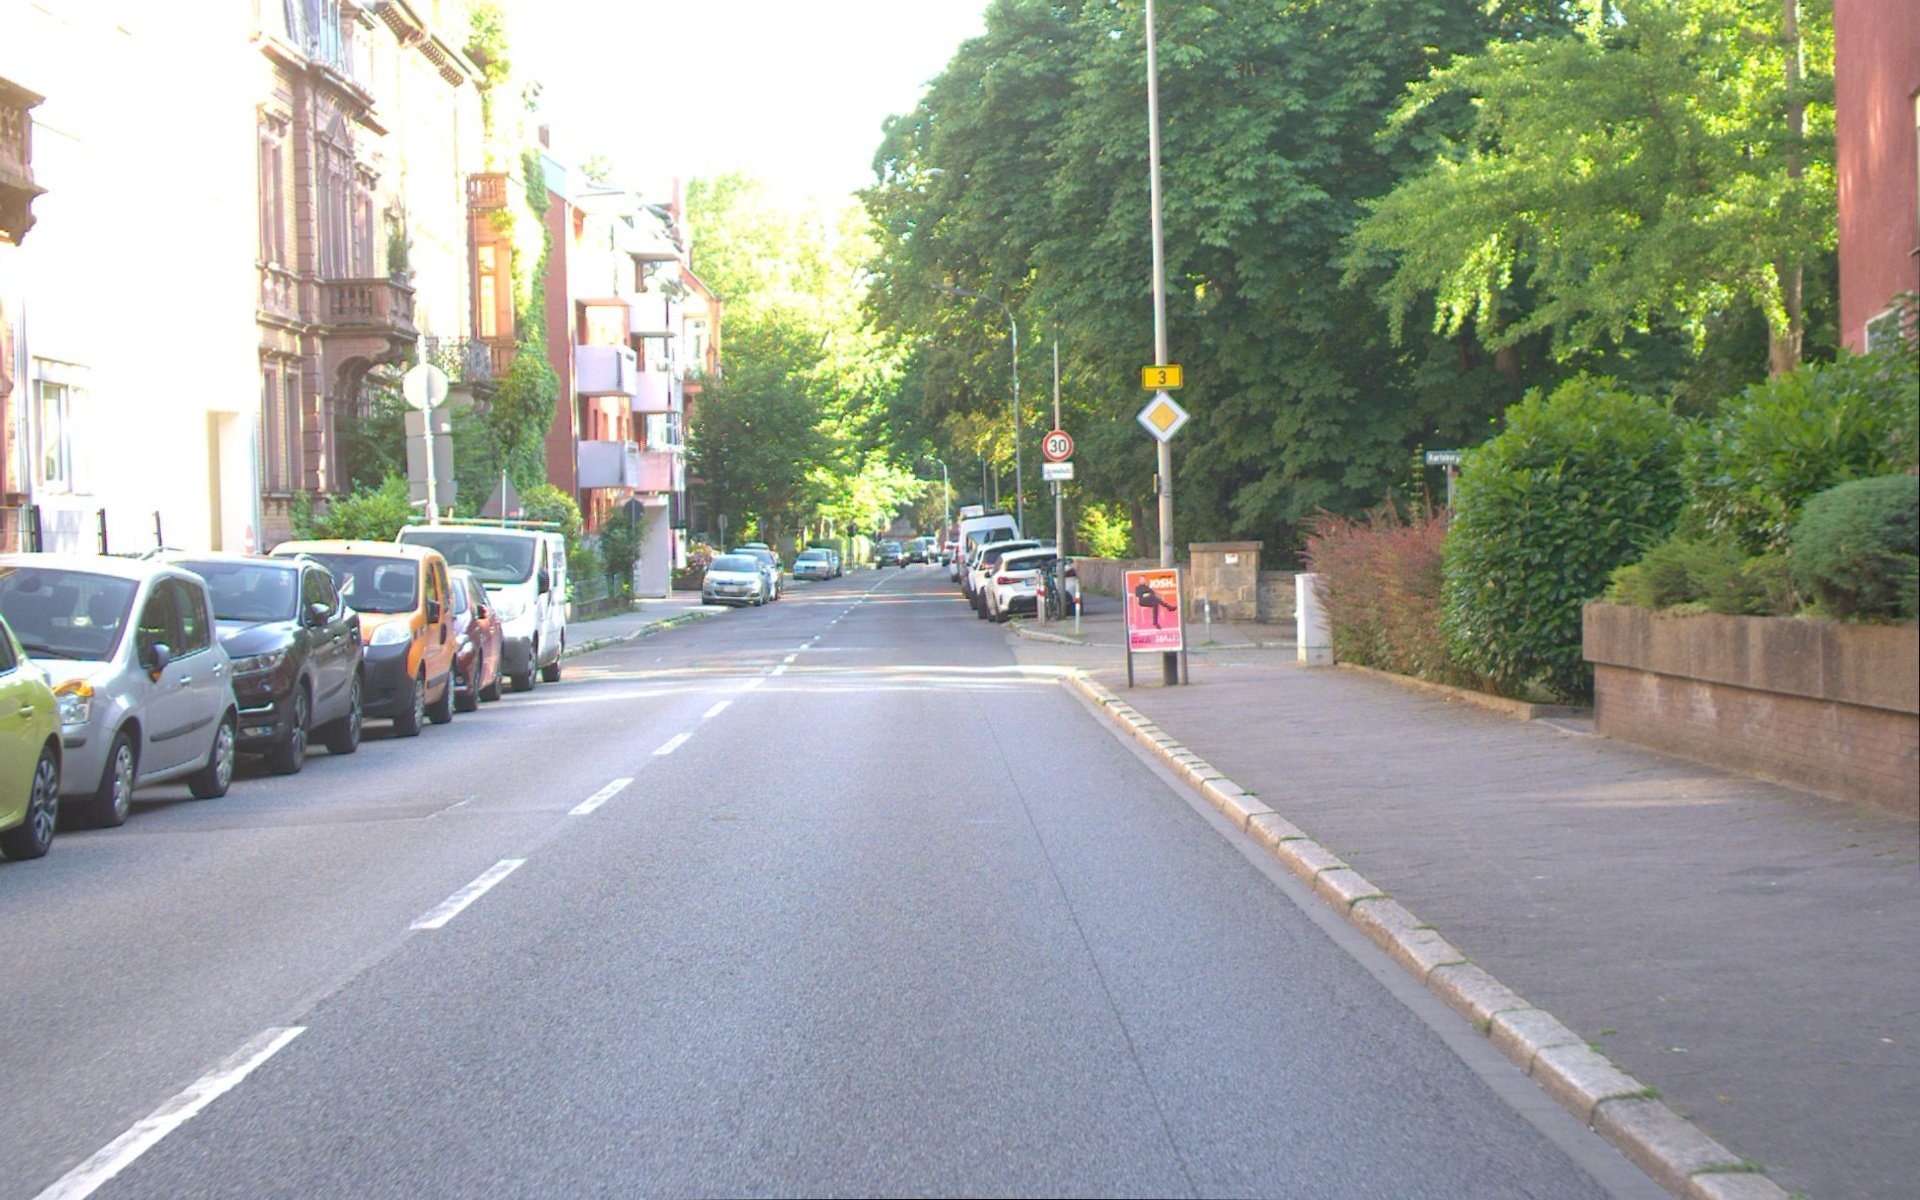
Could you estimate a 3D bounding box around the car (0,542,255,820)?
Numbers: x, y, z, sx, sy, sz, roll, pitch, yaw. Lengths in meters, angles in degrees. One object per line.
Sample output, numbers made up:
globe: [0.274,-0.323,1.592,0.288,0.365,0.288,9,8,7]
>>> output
car: [-5.636,0.436,21.598,1.702,1.578,3.635,0,1,0]

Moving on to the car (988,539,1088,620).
car: [1.603,-0.444,71.442,1.993,1.512,4.000,-2,2,1]

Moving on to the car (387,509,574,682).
car: [-5.846,-0.102,42.377,1.792,2.003,4.698,0,1,-2]

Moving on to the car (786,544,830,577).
car: [-7.508,-1.962,170.250,1.993,1.486,4.471,-2,2,-1]

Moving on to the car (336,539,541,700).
car: [-5.555,0.161,37.006,1.702,1.614,4.118,0,1,-2]

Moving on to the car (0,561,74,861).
car: [-5.632,0.552,16.733,1.702,1.498,4.073,0,0,-2]

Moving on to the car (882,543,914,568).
car: [-3.986,-2.863,221.714,1.993,1.486,4.471,-2,2,-1]

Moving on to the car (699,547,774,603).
car: [-6.715,-0.776,103.757,1.993,1.486,4.471,-2,2,-1]

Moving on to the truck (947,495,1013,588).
truck: [0.630,-1.940,112.522,1.993,2.887,4.471,-2,2,-1]

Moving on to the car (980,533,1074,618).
car: [1.495,-0.582,76.834,1.993,1.731,4.000,-2,2,1]

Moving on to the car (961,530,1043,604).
car: [1.080,-0.858,87.855,1.993,1.731,4.000,-2,2,1]

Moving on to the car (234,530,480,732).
car: [-5.481,0.230,31.647,1.702,1.732,3.857,0,1,-2]

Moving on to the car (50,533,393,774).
car: [-5.637,0.341,26.751,1.702,1.702,4.440,0,1,0]

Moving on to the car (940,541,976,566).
car: [-0.148,-3.029,225.024,1.993,1.486,4.471,-2,2,-4]
